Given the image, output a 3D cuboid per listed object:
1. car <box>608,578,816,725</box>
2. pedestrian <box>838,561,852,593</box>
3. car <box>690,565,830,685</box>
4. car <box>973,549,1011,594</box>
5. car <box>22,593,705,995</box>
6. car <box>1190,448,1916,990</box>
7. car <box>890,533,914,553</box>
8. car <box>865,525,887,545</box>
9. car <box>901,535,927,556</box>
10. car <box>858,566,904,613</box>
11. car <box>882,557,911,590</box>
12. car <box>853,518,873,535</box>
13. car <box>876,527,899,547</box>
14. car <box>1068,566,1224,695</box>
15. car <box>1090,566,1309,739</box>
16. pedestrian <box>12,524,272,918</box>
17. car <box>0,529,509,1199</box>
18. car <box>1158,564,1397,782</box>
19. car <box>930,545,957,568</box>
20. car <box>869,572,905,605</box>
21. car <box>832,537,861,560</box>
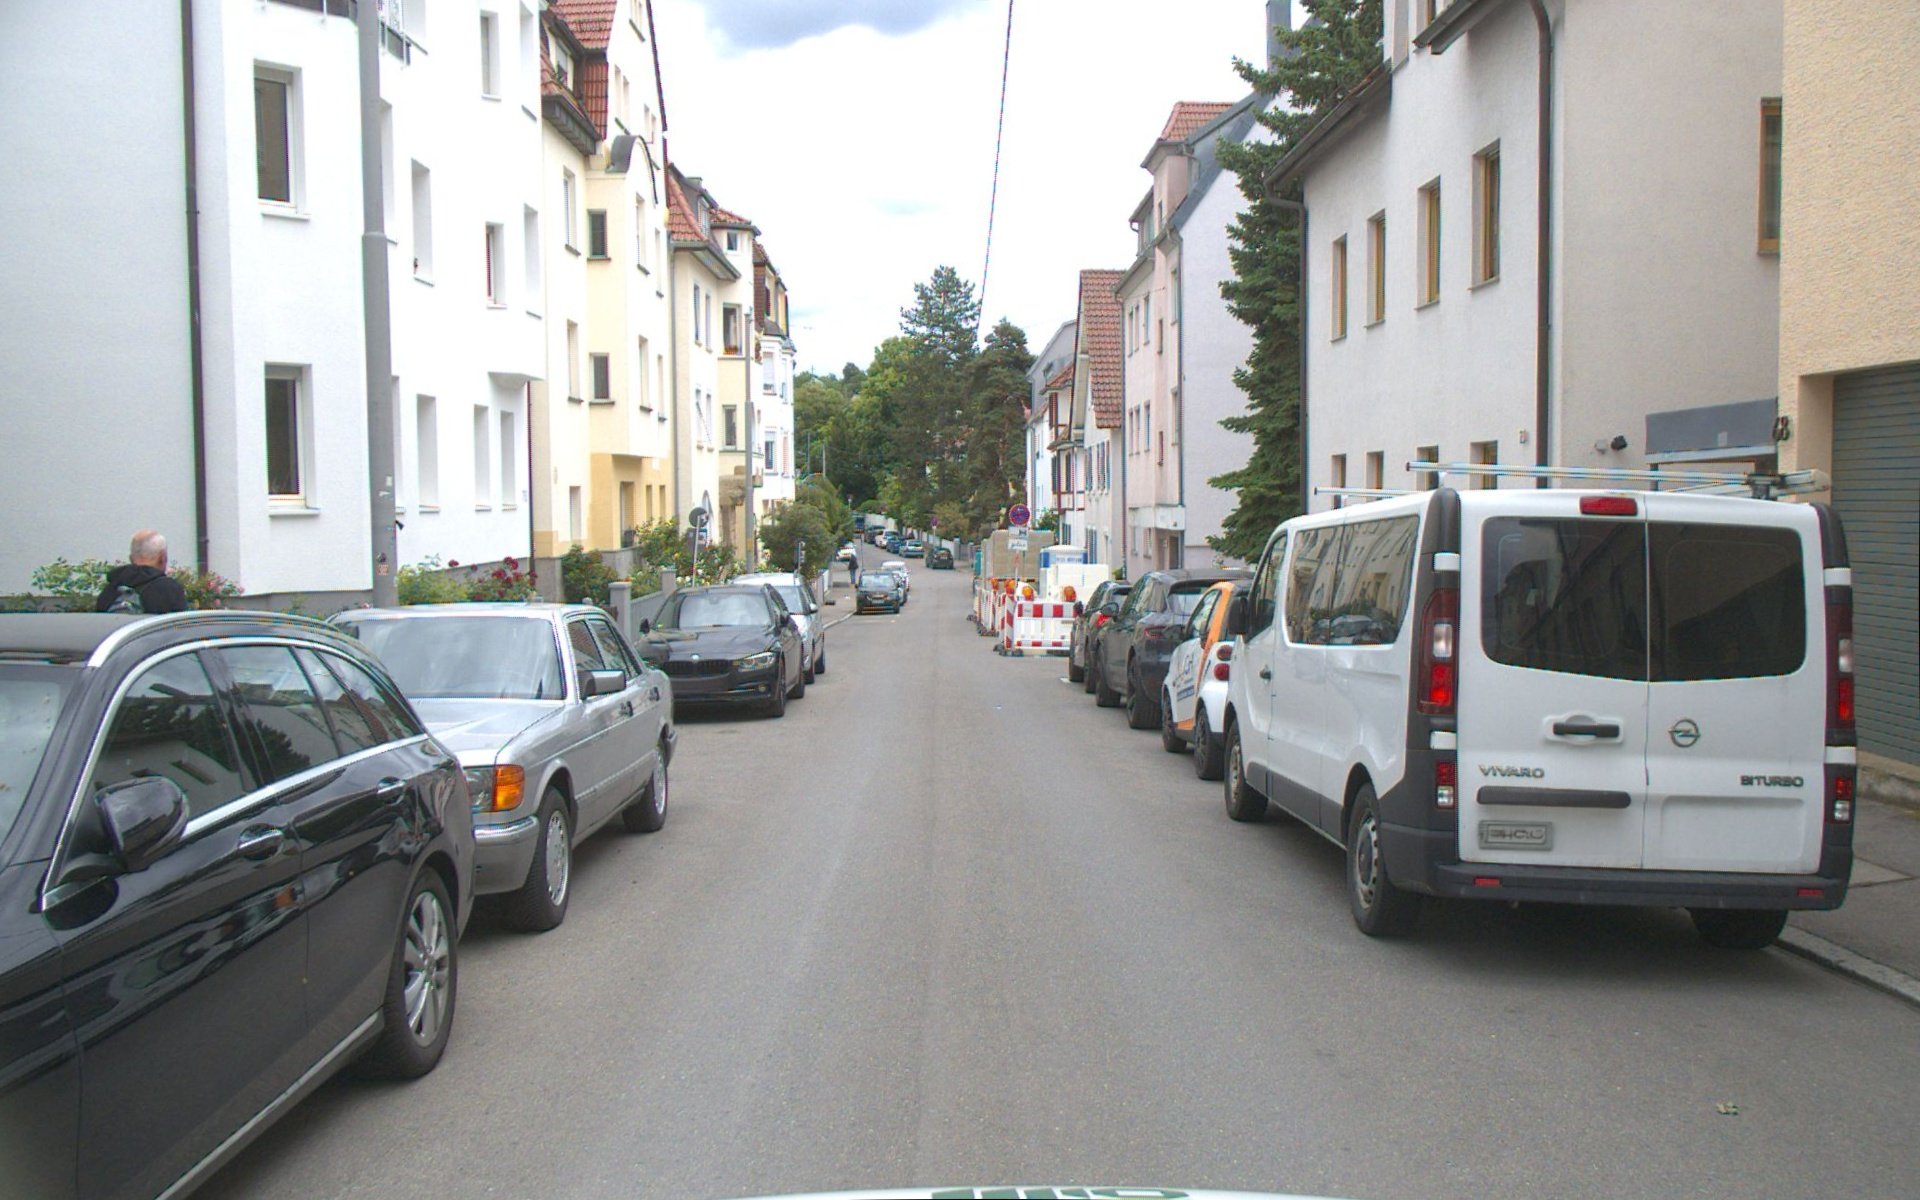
[{"bbox_3d":[-2.791,0.511,19.585,1.807,1.482,4.504,-2,1,-1],"label":"car"},{"bbox_3d":[-7.048,-1.423,101.582,0.775,1.966,0.920,1,2,2],"label":"pedestrian"},{"bbox_3d":[-2.981,0.316,25.436,1.808,1.659,4.284,-1,1,-3],"label":"car"},{"bbox_3d":[1.790,-1.654,94.313,1.940,2.403,4.277,0,2,-2],"label":"car"},{"bbox_3d":[-2.623,0.714,8.733,1.807,1.437,5.061,-1,1,-1],"label":"car"},{"bbox_3d":[2.686,0.385,9.242,1.867,2.065,5.732,1,2,-1],"label":"car"},{"bbox_3d":[-4.933,-4.839,140.844,1.604,1.509,3.524,0,5,-10],"label":"car"},{"bbox_3d":[-7.745,-6.001,152.628,1.604,1.563,3.524,0,5,-10],"label":"car"},{"bbox_3d":[-3.787,-4.483,136.323,1.604,1.509,3.524,0,5,-10],"label":"car"},{"bbox_3d":[-3.347,-0.476,69.124,1.808,1.847,4.541,-2,1,-4],"label":"car"},{"bbox_3d":[-3.753,-1.595,97.991,1.638,1.685,3.864,-1,4,-2],"label":"car"},{"bbox_3d":[-9.802,-7.414,167.108,1.604,1.563,3.524,0,5,-10],"label":"car"},{"bbox_3d":[-6.454,-5.606,146.821,1.604,1.563,3.524,0,5,-10],"label":"car"},{"bbox_3d":[2.523,0.353,23.287,1.680,1.593,4.073,1,2,-1],"label":"car"},{"bbox_3d":[2.521,0.469,18.427,1.678,1.624,4.498,1,2,-1],"label":"car"},{"bbox_3d":[-4.219,0.583,8.576,0.800,1.917,0.847,-1,1,21],"label":"pedestrian"},{"bbox_3d":[-2.436,0.672,3.587,1.858,1.554,4.468,-1,0,-3],"label":"car"},{"bbox_3d":[2.596,0.531,14.032,1.456,1.624,2.791,1,2,0],"label":"car"},{"bbox_3d":[-1.248,-3.288,124.519,1.604,1.509,3.526,0,5,-8],"label":"car"},{"bbox_3d":[-3.485,-0.581,79.476,1.609,1.441,3.983,-2,2,-2],"label":"car"},{"bbox_3d":[-9.198,-4.164,133.614,1.644,1.685,3.851,-2,4,-14],"label":"car"}]
